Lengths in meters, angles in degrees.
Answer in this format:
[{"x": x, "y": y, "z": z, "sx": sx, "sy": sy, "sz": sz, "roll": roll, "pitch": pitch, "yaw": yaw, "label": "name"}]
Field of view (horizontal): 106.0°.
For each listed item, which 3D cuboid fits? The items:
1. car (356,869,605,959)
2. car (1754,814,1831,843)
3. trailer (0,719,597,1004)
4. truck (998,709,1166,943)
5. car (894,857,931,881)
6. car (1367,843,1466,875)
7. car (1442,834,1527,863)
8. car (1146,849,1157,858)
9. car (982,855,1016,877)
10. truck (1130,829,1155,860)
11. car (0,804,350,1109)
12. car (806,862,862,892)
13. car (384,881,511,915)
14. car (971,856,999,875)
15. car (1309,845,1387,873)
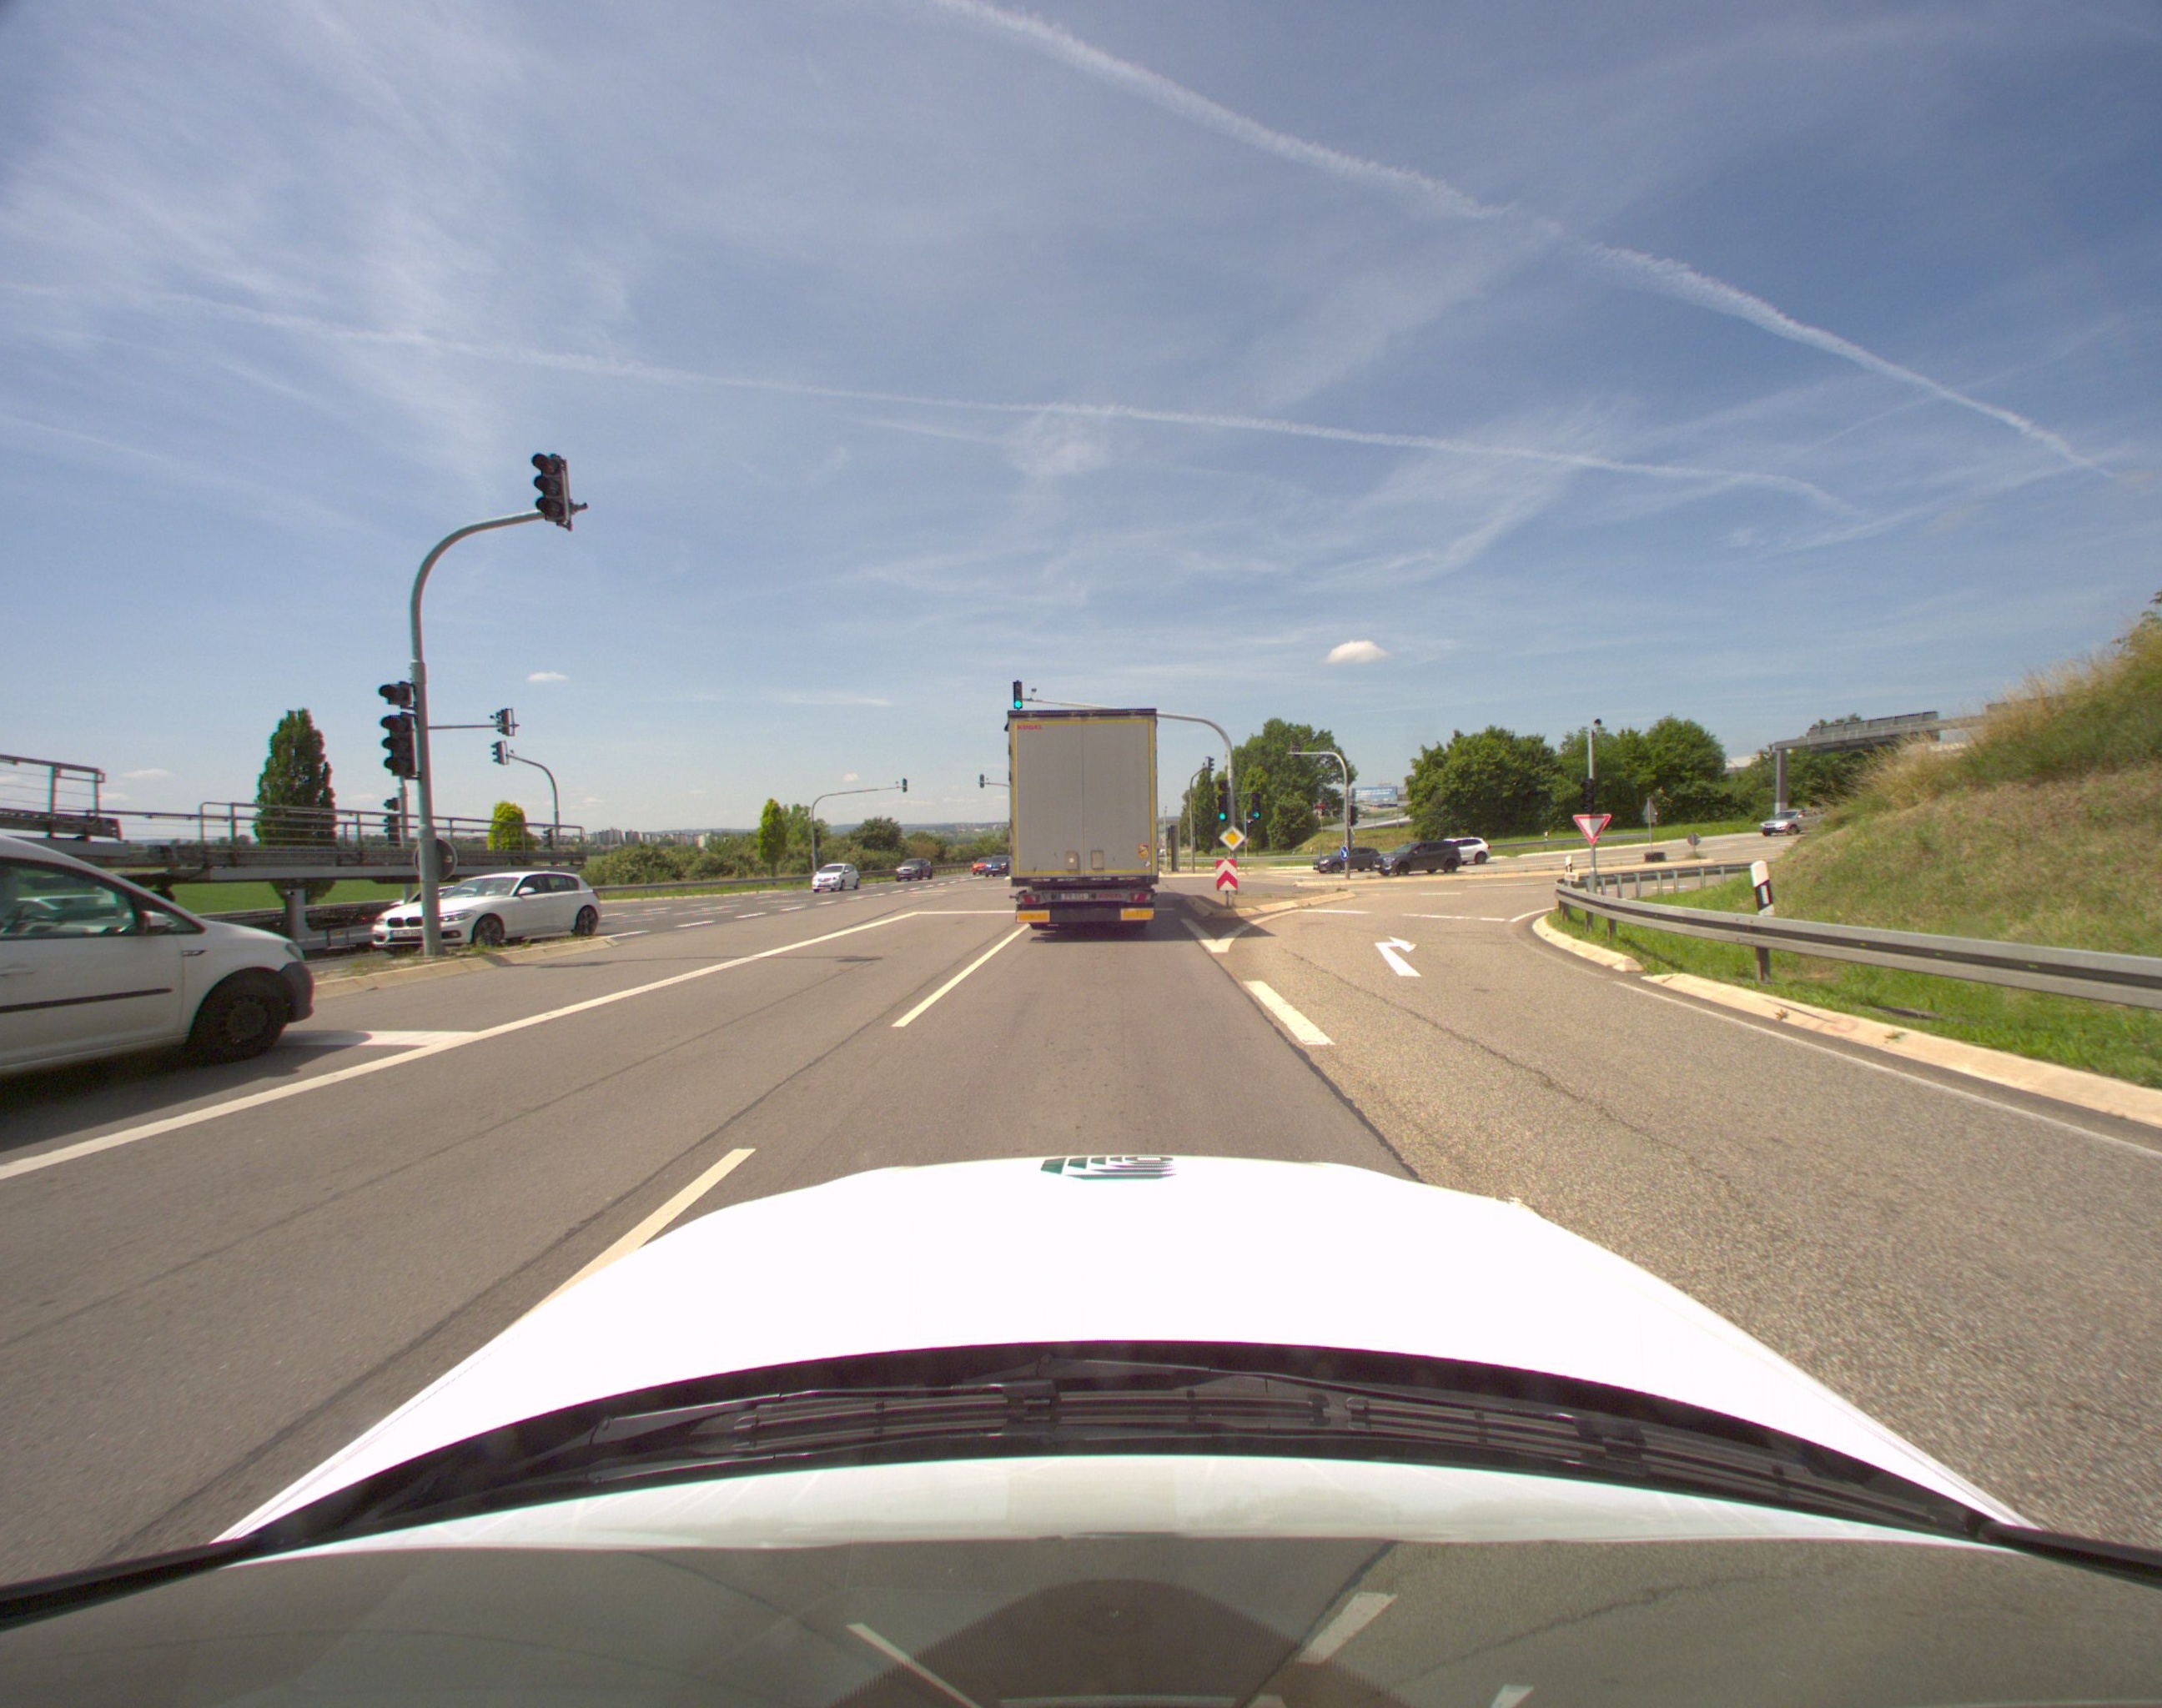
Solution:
[{"x": -11.438, "y": 1.067, "z": 15.922, "sx": 1.765, "sy": 1.434, "sz": 4.001, "roll": -2, "pitch": -1, "yaw": 2, "label": "car"}, {"x": 48.254, "y": -1.703, "z": 55.253, "sx": 4.369, "sy": 1.655, "sz": 1.826, "roll": -4, "pitch": 0, "yaw": -17, "label": "car"}, {"x": -15.516, "y": 0.152, "z": 13.245, "sx": 2.629, "sy": 3.763, "sz": 19.810, "roll": -2, "pitch": -1, "yaw": 2, "label": "trailer"}, {"x": -0.014, "y": -0.504, "z": 19.400, "sx": 2.790, "sy": 3.929, "sz": 11.338, "roll": -1, "pitch": 0, "yaw": 0, "label": "truck"}, {"x": -12.522, "y": 1.090, "z": 60.761, "sx": 1.637, "sy": 1.623, "sz": 4.331, "roll": -3, "pitch": -1, "yaw": 3, "label": "car"}, {"x": 16.896, "y": 0.244, "z": 41.100, "sx": 4.357, "sy": 1.510, "sz": 1.711, "roll": -1, "pitch": -1, "yaw": -10, "label": "car"}, {"x": 24.431, "y": -0.324, "z": 49.340, "sx": 4.354, "sy": 1.592, "sz": 1.775, "roll": -1, "pitch": -1, "yaw": -7, "label": "car"}, {"x": 13.282, "y": -0.021, "z": 153.406, "sx": 1.777, "sy": 1.688, "sz": 4.007, "roll": -1, "pitch": -1, "yaw": 6, "label": "car"}, {"x": -5.906, "y": 0.810, "z": 58.953, "sx": 1.748, "sy": 1.469, "sz": 4.200, "roll": -2, "pitch": 0, "yaw": 3, "label": "car"}, {"x": 7.918, "y": -1.066, "z": 104.467, "sx": 2.641, "sy": 3.764, "sz": 10.182, "roll": -1, "pitch": -1, "yaw": 7, "label": "truck"}, {"x": -7.258, "y": 0.612, "z": 4.654, "sx": 1.761, "sy": 1.798, "sz": 4.754, "roll": 0, "pitch": 0, "yaw": 2, "label": "car"}, {"x": -13.545, "y": 1.213, "z": 44.795, "sx": 1.637, "sy": 1.496, "sz": 3.805, "roll": -3, "pitch": -1, "yaw": 4, "label": "car"}, {"x": -30.178, "y": 2.059, "z": 38.967, "sx": 4.495, "sy": 1.460, "sz": 1.622, "roll": 0, "pitch": -1, "yaw": -21, "label": "car"}, {"x": -8.490, "y": 0.970, "z": 72.151, "sx": 1.637, "sy": 1.496, "sz": 4.070, "roll": -3, "pitch": 0, "yaw": 4, "label": "car"}, {"x": 15.525, "y": 0.281, "z": 47.413, "sx": 3.983, "sy": 1.510, "sz": 1.712, "roll": -1, "pitch": -1, "yaw": -7, "label": "car"}]
